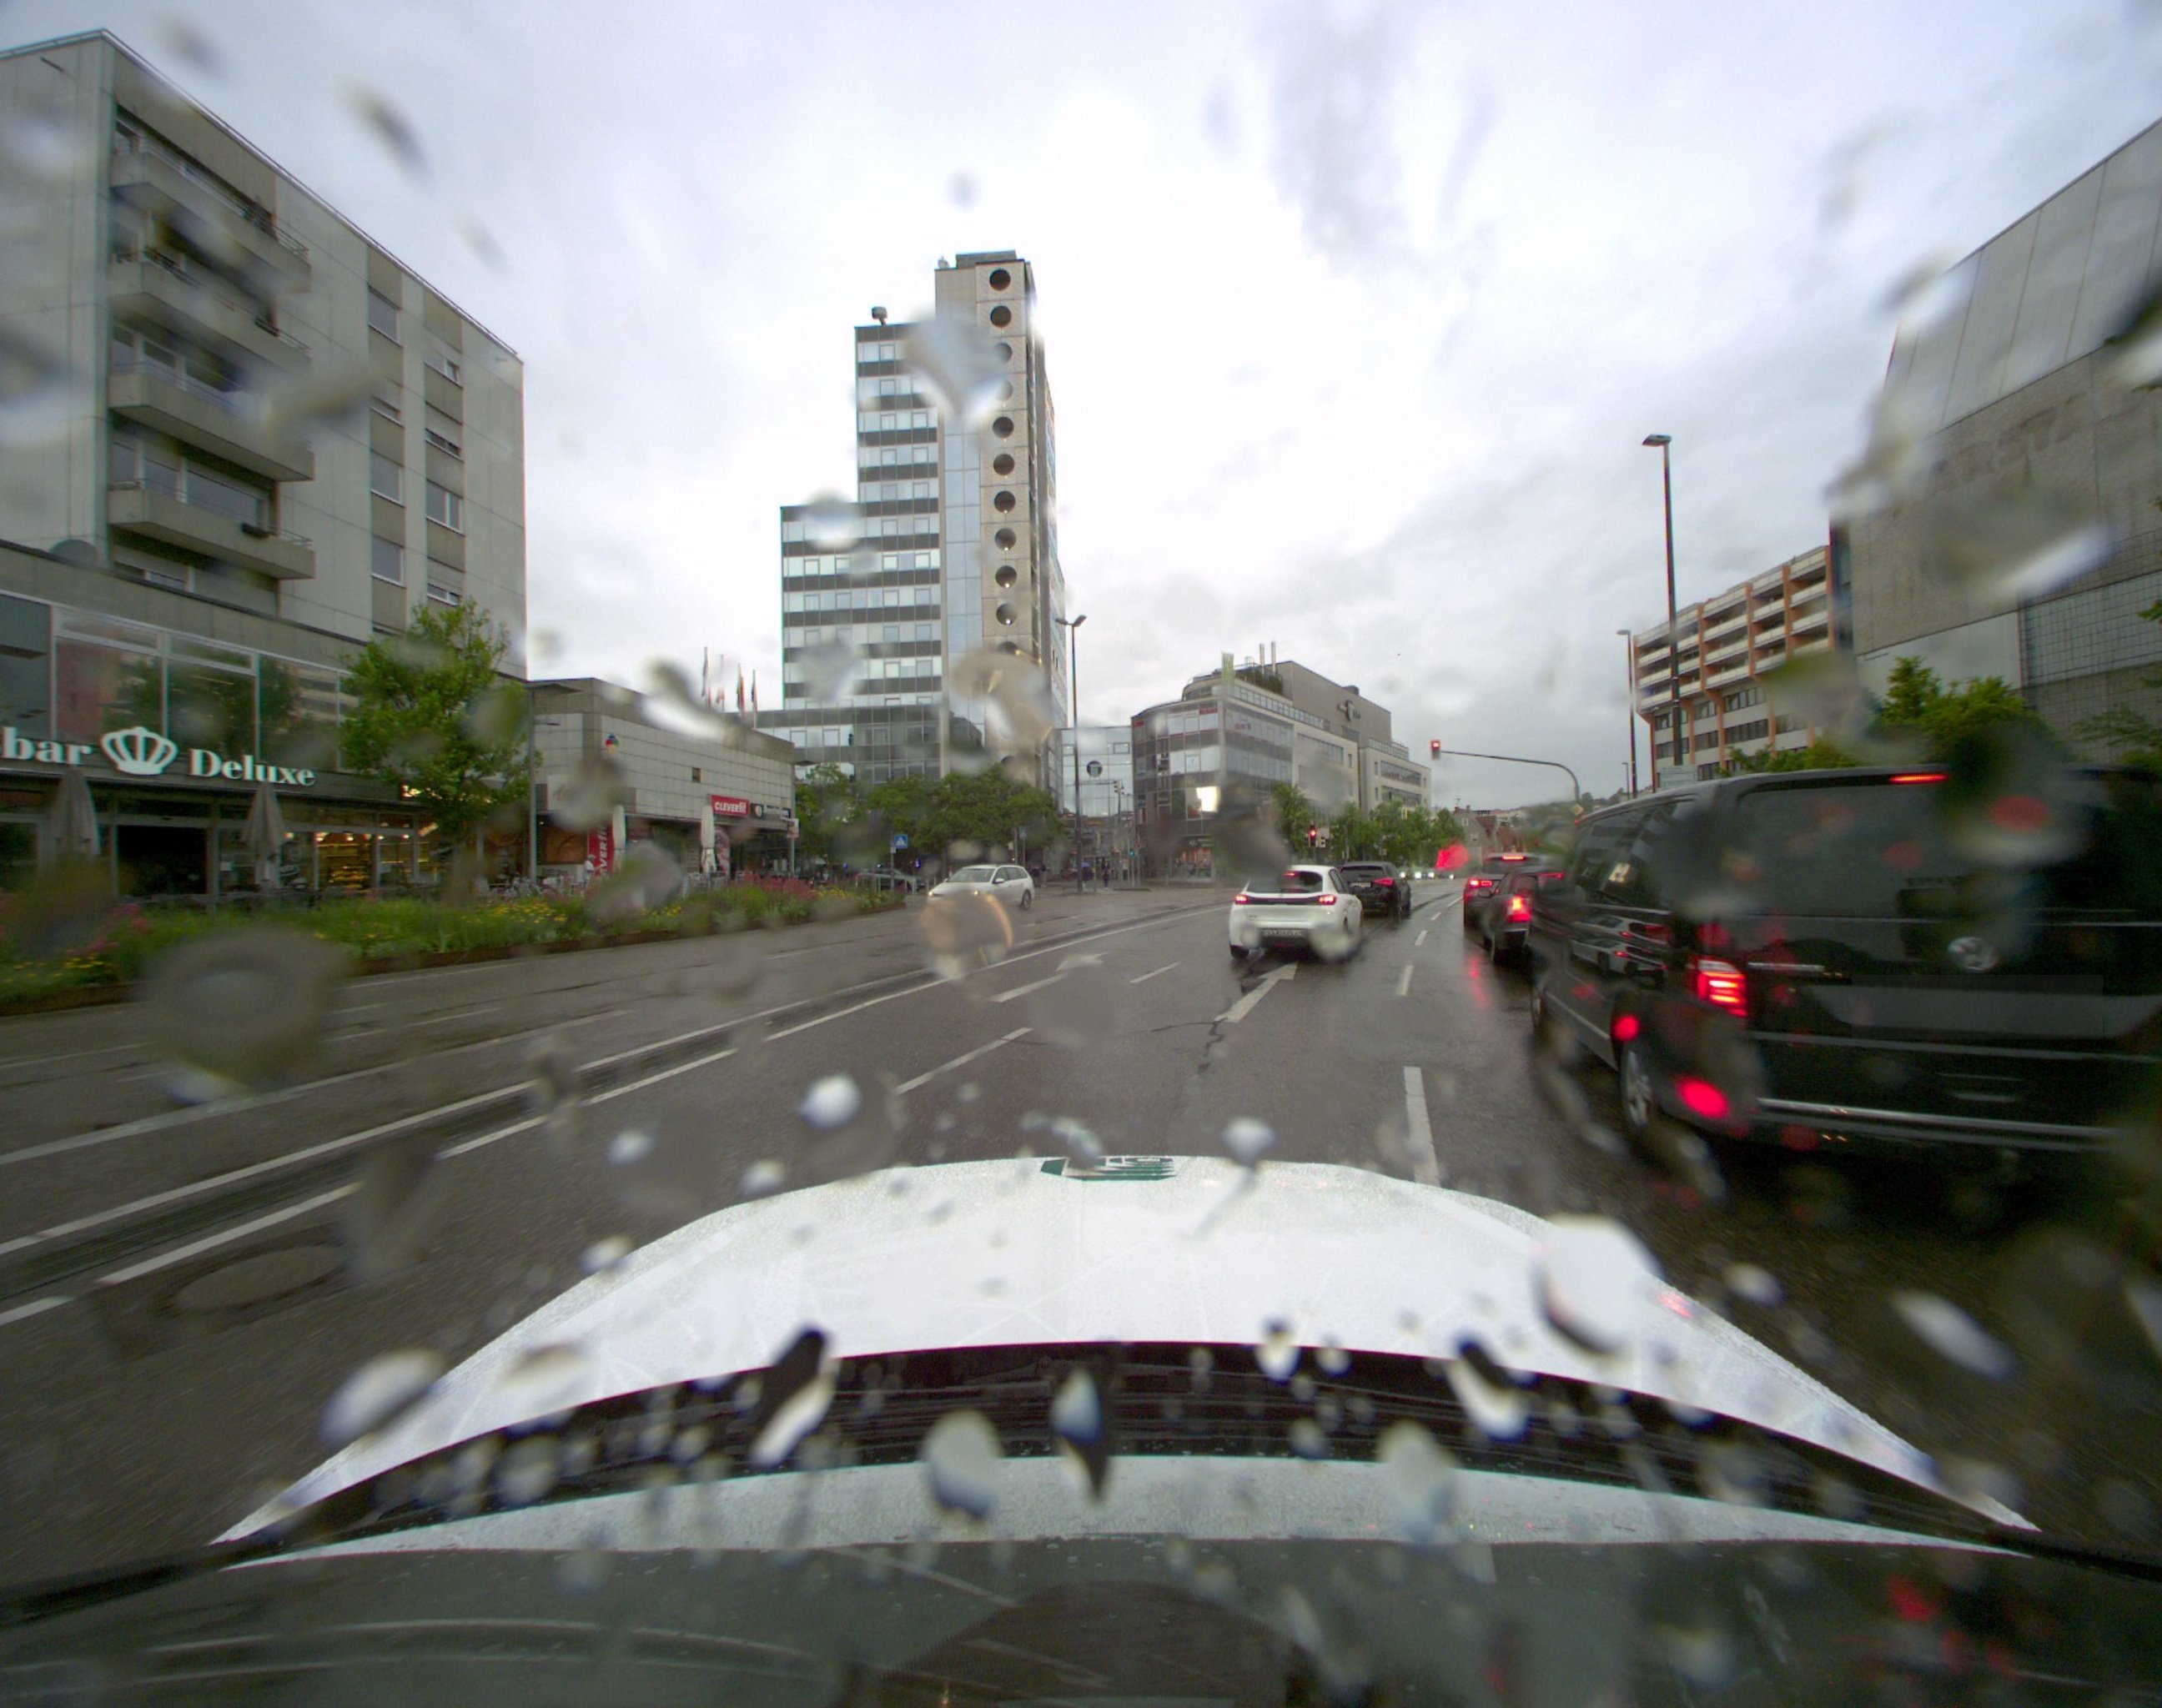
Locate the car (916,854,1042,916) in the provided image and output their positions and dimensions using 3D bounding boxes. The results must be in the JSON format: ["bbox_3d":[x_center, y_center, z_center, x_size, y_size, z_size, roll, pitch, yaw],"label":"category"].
[{"bbox_3d":[-2.940,0.875,24.542,1.870,1.682,4.528,-1,-1,20],"label":"car"}]

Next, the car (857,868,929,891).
[{"bbox_3d":[-12.073,1.638,52.352,4.019,1.420,1.876,-1,-1,12],"label":"car"}]

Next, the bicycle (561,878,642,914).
[{"bbox_3d":[-16.624,1.454,28.251,2.530,1.223,0.698,-1,-1,9],"label":"bicycle"}]

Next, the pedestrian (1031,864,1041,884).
[{"bbox_3d":[-4.184,1.848,75.685,0.827,1.868,0.754,-2,-1,5],"label":"pedestrian"}]

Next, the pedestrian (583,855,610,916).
[{"bbox_3d":[-13.957,0.896,23.439,0.659,1.693,0.708,0,-1,-32],"label":"pedestrian"}]

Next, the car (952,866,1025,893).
[{"bbox_3d":[-5.730,1.602,50.630,4.168,1.595,1.874,-1,-1,8],"label":"car"}]

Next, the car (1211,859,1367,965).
[{"bbox_3d":[3.556,0.829,13.414,1.855,1.462,3.894,-1,-1,24],"label":"car"}]

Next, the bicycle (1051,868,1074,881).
[{"bbox_3d":[-1.852,2.086,81.742,2.263,1.247,0.677,-2,-2,3],"label":"bicycle"}]

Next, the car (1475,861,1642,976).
[{"bbox_3d":[6.971,0.813,12.312,1.617,1.386,4.539,-1,-1,23],"label":"car"}]

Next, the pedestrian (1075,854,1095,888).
[{"bbox_3d":[0.228,0.999,49.476,1.159,2.014,1.327,-1,-1,-2],"label":"pedestrian"}]

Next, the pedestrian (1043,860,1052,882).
[{"bbox_3d":[-3.129,1.559,75.824,0.759,2.014,0.715,-1,-1,6],"label":"pedestrian"}]

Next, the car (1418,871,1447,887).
[{"bbox_3d":[38.639,2.745,89.456,1.756,1.594,4.617,-7,-5,36],"label":"car"}]

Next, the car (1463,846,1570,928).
[{"bbox_3d":[9.768,0.668,18.462,1.884,1.621,4.361,-1,-1,26],"label":"car"}]

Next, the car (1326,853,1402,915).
[{"bbox_3d":[7.870,0.791,22.434,1.800,1.530,3.832,-1,-1,21],"label":"car"}]

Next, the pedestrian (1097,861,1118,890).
[{"bbox_3d":[1.654,1.346,51.580,0.837,1.819,1.031,-3,-2,37],"label":"pedestrian"}]

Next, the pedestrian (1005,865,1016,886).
[{"bbox_3d":[-6.460,1.994,74.904,0.754,1.868,0.827,-1,-2,-22],"label":"pedestrian"}]

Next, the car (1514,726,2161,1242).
[{"bbox_3d":[4.291,0.514,5.339,1.978,1.894,4.610,-1,-1,21],"label":"car"}]

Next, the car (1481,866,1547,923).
[{"bbox_3d":[13.101,1.151,24.777,1.619,1.448,4.294,0,1,27],"label":"car"}]
